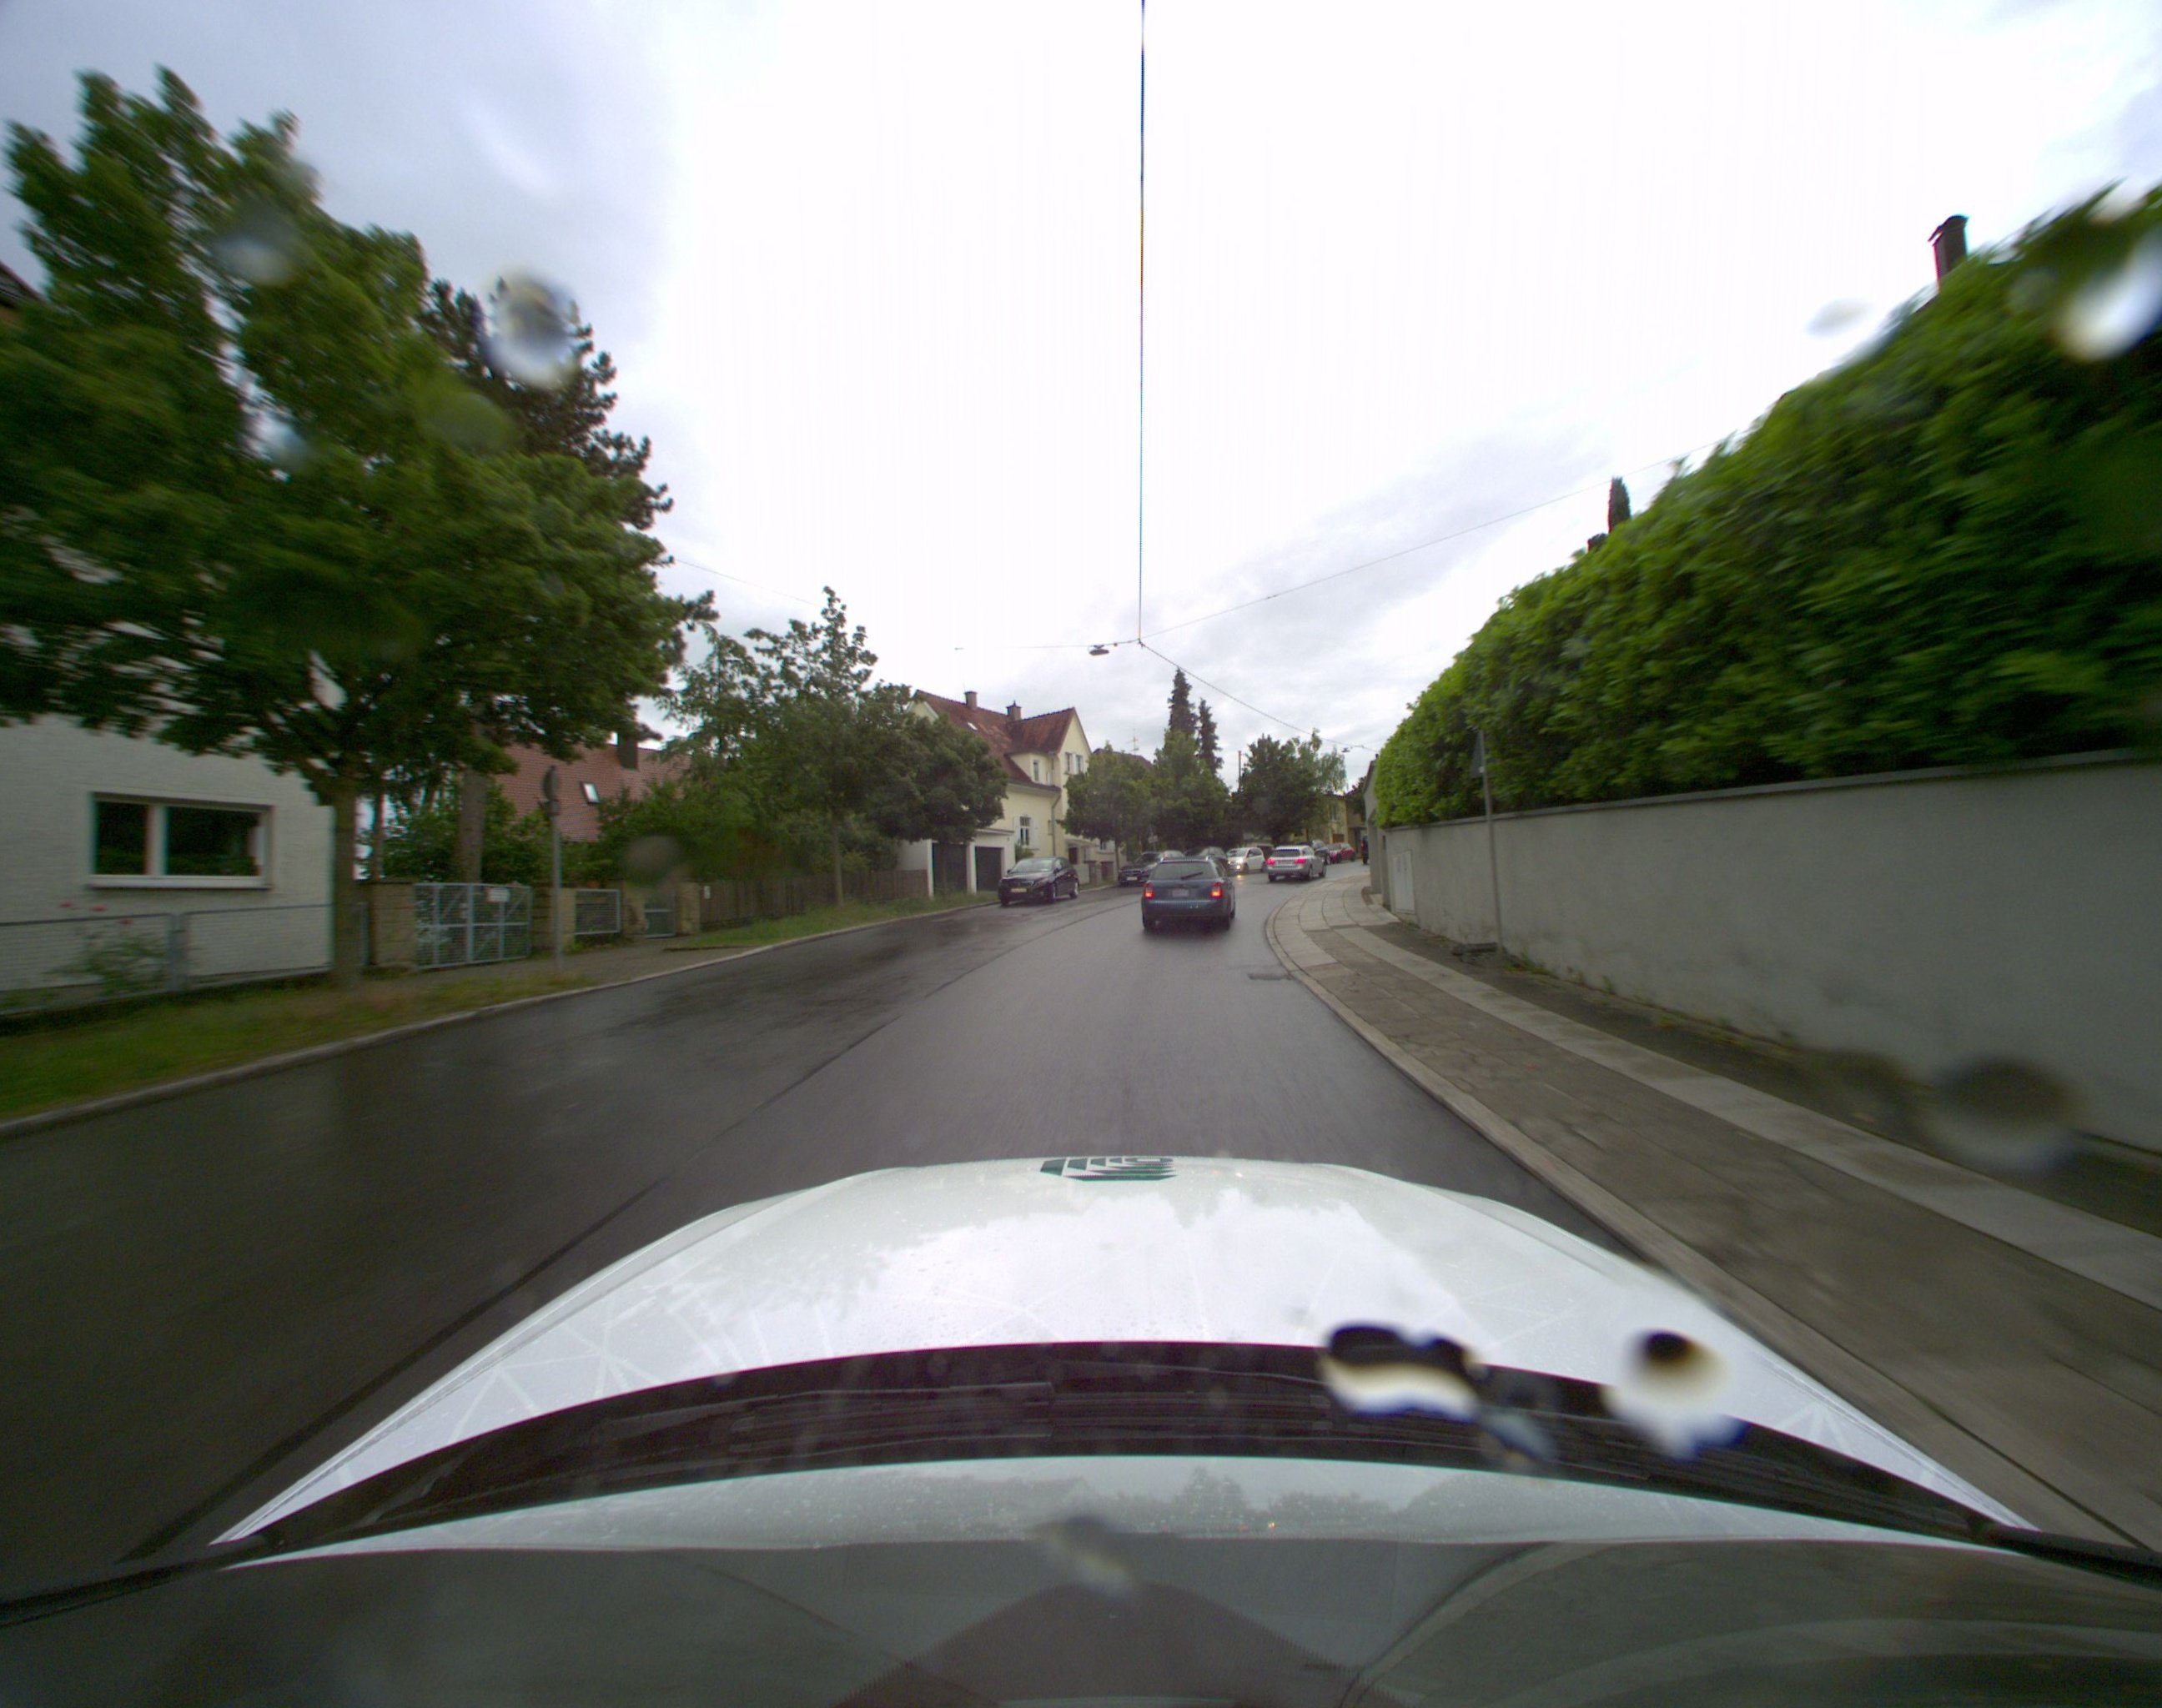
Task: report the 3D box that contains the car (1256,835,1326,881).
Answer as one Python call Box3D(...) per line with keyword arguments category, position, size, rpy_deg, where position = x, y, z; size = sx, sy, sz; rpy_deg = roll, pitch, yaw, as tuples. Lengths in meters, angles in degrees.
Box3D(category="car", position=(9.219, 0.127, 35.438), size=(1.957, 1.634, 4.262), rpy_deg=(-3, 2, 27))

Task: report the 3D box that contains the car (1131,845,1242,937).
Box3D(category="car", position=(2.354, 0.687, 17.191), size=(1.721, 1.466, 4.017), rpy_deg=(-4, 2, 15))

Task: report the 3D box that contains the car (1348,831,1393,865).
Box3D(category="car", position=(18.055, -0.418, 50.632), size=(1.717, 1.768, 4.263), rpy_deg=(-3, 2, 31))

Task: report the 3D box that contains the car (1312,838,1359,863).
Box3D(category="car", position=(17.791, -0.241, 56.938), size=(1.665, 1.472, 3.890), rpy_deg=(-6, -2, 40))

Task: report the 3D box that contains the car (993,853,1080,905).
Box3D(category="car", position=(-1.372, 0.772, 26.736), size=(1.658, 1.466, 3.910), rpy_deg=(-4, -1, 14))

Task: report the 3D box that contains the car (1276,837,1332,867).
Box3D(category="car", position=(14.469, -0.163, 52.753), size=(1.783, 1.669, 4.455), rpy_deg=(-6, -2, 38))

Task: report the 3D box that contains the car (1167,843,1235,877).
Box3D(category="car", position=(6.170, 0.300, 41.626), size=(1.716, 1.545, 4.237), rpy_deg=(-3, 0, 34))

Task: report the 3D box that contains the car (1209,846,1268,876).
Box3D(category="car", position=(8.851, 0.361, 45.524), size=(1.716, 1.466, 4.026), rpy_deg=(-3, 0, 34))

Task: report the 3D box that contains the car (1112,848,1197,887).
Box3D(category="car", position=(3.449, 0.563, 37.382), size=(1.848, 1.545, 4.936), rpy_deg=(-3, 0, 31))
